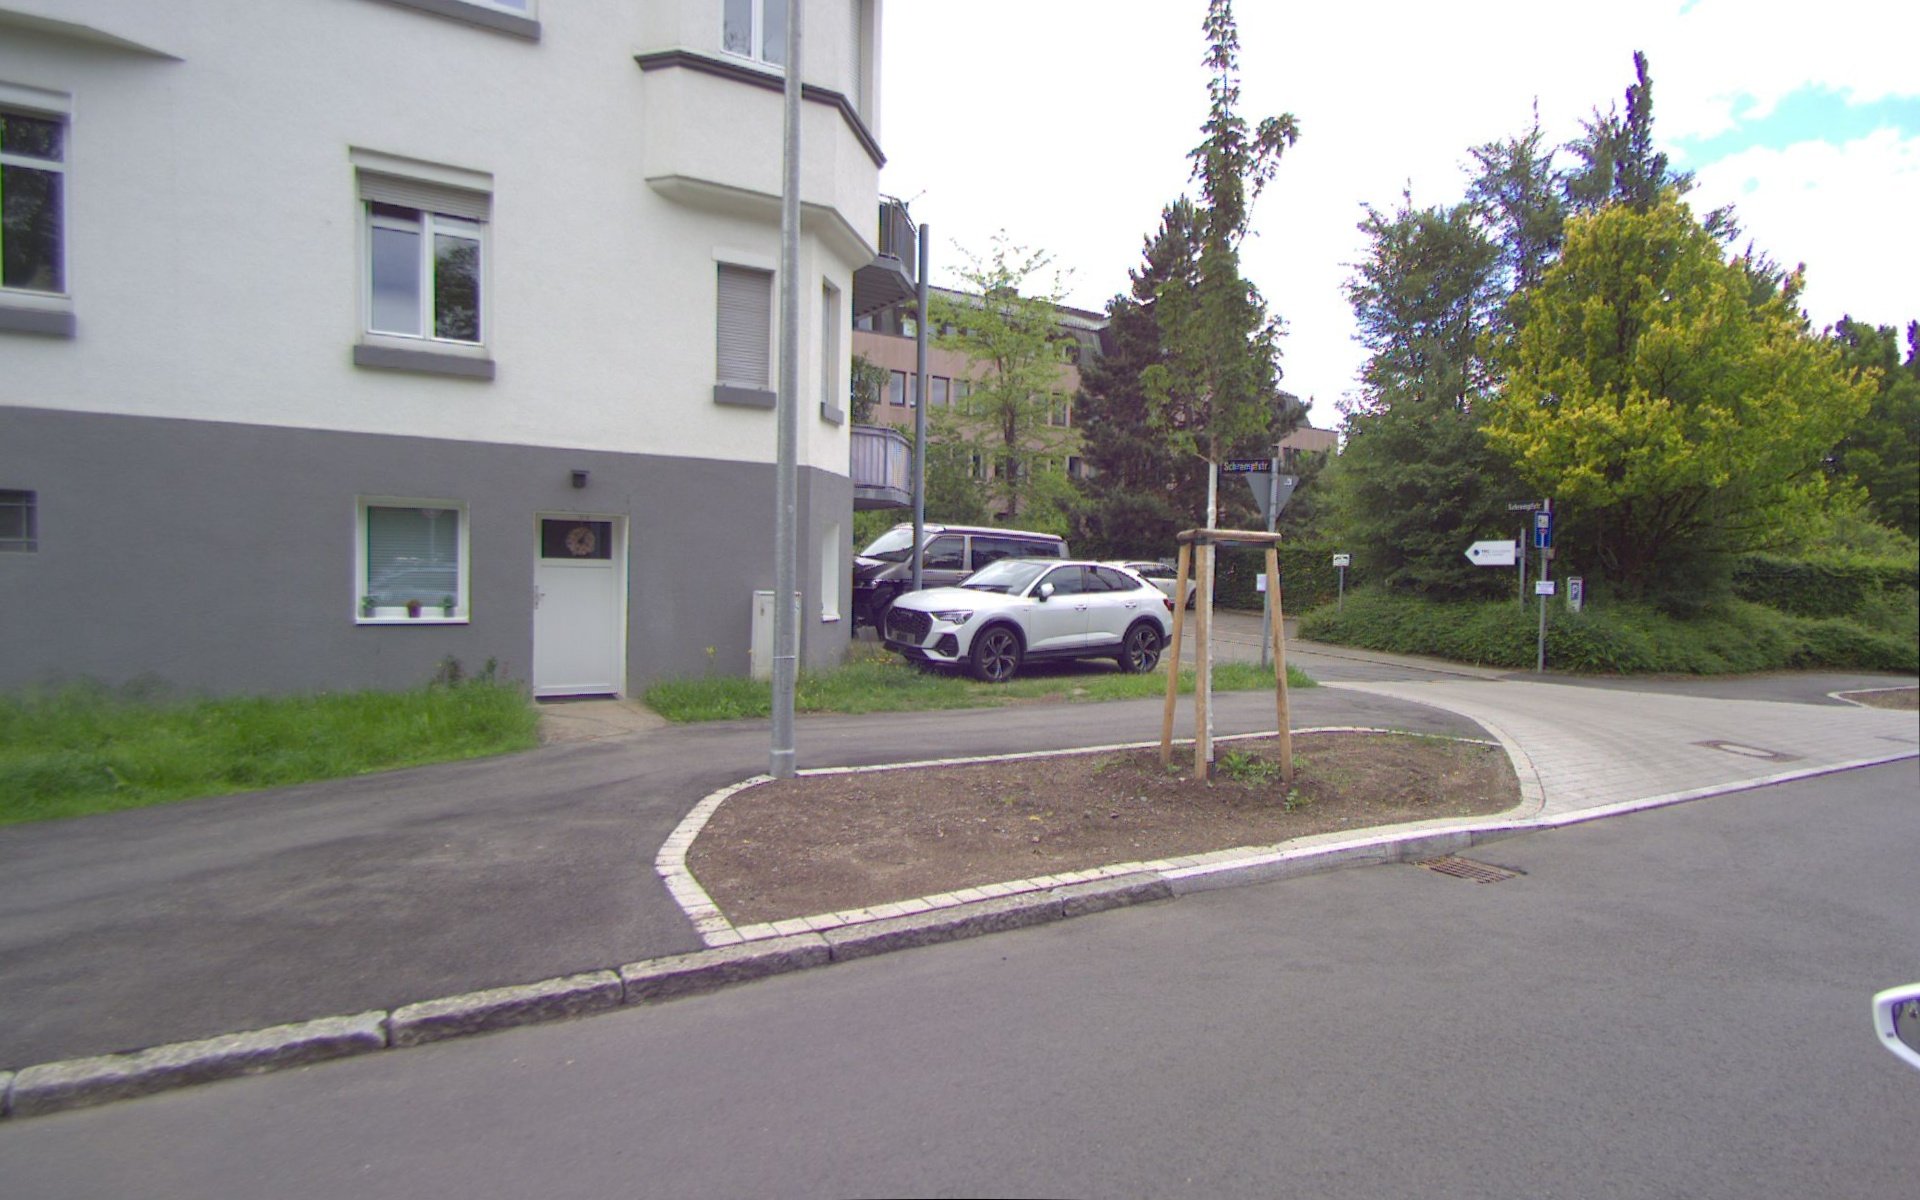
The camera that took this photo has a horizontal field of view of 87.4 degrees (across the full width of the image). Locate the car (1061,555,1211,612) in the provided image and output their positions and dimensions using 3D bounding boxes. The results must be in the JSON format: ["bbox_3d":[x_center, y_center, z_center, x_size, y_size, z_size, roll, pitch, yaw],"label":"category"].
[{"bbox_3d":[5.412,-0.532,30.728,4.368,1.554,1.980,-1,5,-35],"label":"car"}]

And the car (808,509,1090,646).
[{"bbox_3d":[-0.118,-0.360,17.953,4.719,2.078,1.892,2,4,-36],"label":"car"}]

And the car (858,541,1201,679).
[{"bbox_3d":[1.056,0.116,13.999,4.553,1.553,1.892,1,5,-36],"label":"car"}]
